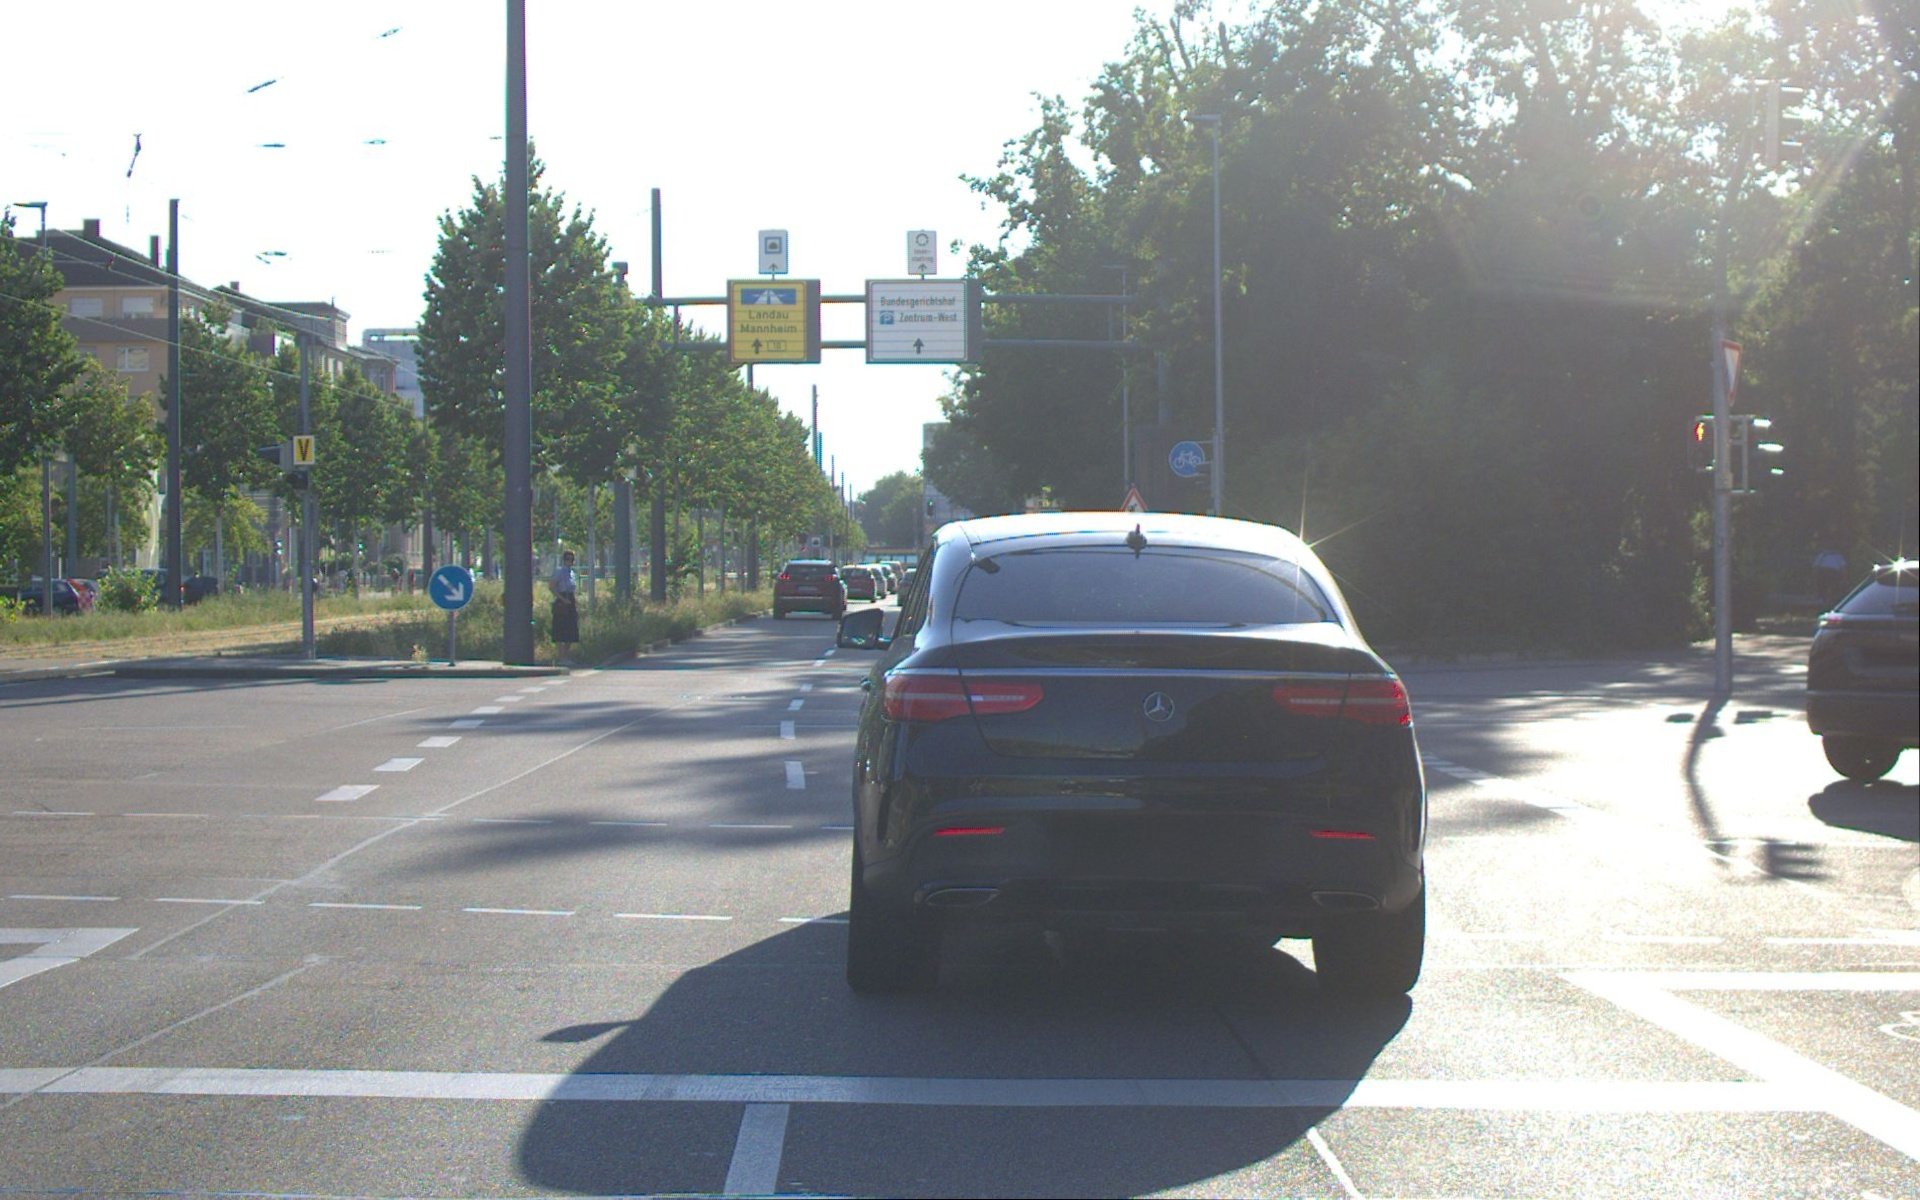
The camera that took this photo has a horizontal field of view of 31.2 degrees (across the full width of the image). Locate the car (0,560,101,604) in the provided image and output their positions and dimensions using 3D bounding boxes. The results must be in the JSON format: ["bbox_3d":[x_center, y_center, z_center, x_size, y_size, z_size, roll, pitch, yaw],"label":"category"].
[{"bbox_3d":[-33.199,-0.646,124.563,3.615,1.518,1.620,1,0,-41],"label":"car"}]

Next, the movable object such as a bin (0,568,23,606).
[{"bbox_3d":[-32.175,-0.446,115.759,0.858,1.276,0.939,0,1,14],"label":"movable object such as a bin"}]

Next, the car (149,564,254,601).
[{"bbox_3d":[-32.958,-0.747,149.386,3.989,1.557,1.999,0,1,-42],"label":"car"}]

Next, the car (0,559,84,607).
[{"bbox_3d":[-33.167,-0.619,121.127,4.084,1.595,1.749,2,1,-41],"label":"car"}]

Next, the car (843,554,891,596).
[{"bbox_3d":[-3.751,-1.021,139.019,1.885,1.575,4.001,1,1,-1],"label":"car"}]

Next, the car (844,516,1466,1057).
[{"bbox_3d":[0.607,0.557,13.121,1.993,1.728,4.000,1,1,-1],"label":"car"}]

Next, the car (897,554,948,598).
[{"bbox_3d":[-1.460,-0.915,131.182,1.885,1.575,4.001,1,1,-1],"label":"car"}]

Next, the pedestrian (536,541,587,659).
[{"bbox_3d":[-5.794,-0.006,49.997,0.598,1.693,0.714,0,1,5],"label":"pedestrian"}]

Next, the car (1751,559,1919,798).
[{"bbox_3d":[7.500,0.486,23.549,4.046,1.522,1.903,0,1,-37],"label":"car"}]

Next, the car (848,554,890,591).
[{"bbox_3d":[-4.111,-1.265,155.344,1.885,1.575,4.001,1,1,-1],"label":"car"}]

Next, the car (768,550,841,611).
[{"bbox_3d":[-4.224,-0.558,93.813,1.885,1.575,4.001,1,1,-1],"label":"car"}]

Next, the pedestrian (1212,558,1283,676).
[{"bbox_3d":[4.078,0.230,48.784,0.766,1.631,0.770,-2,1,-10],"label":"pedestrian"}]

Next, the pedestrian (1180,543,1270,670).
[{"bbox_3d":[3.827,0.093,49.664,0.857,1.796,0.907,-3,1,-35],"label":"pedestrian"}]
